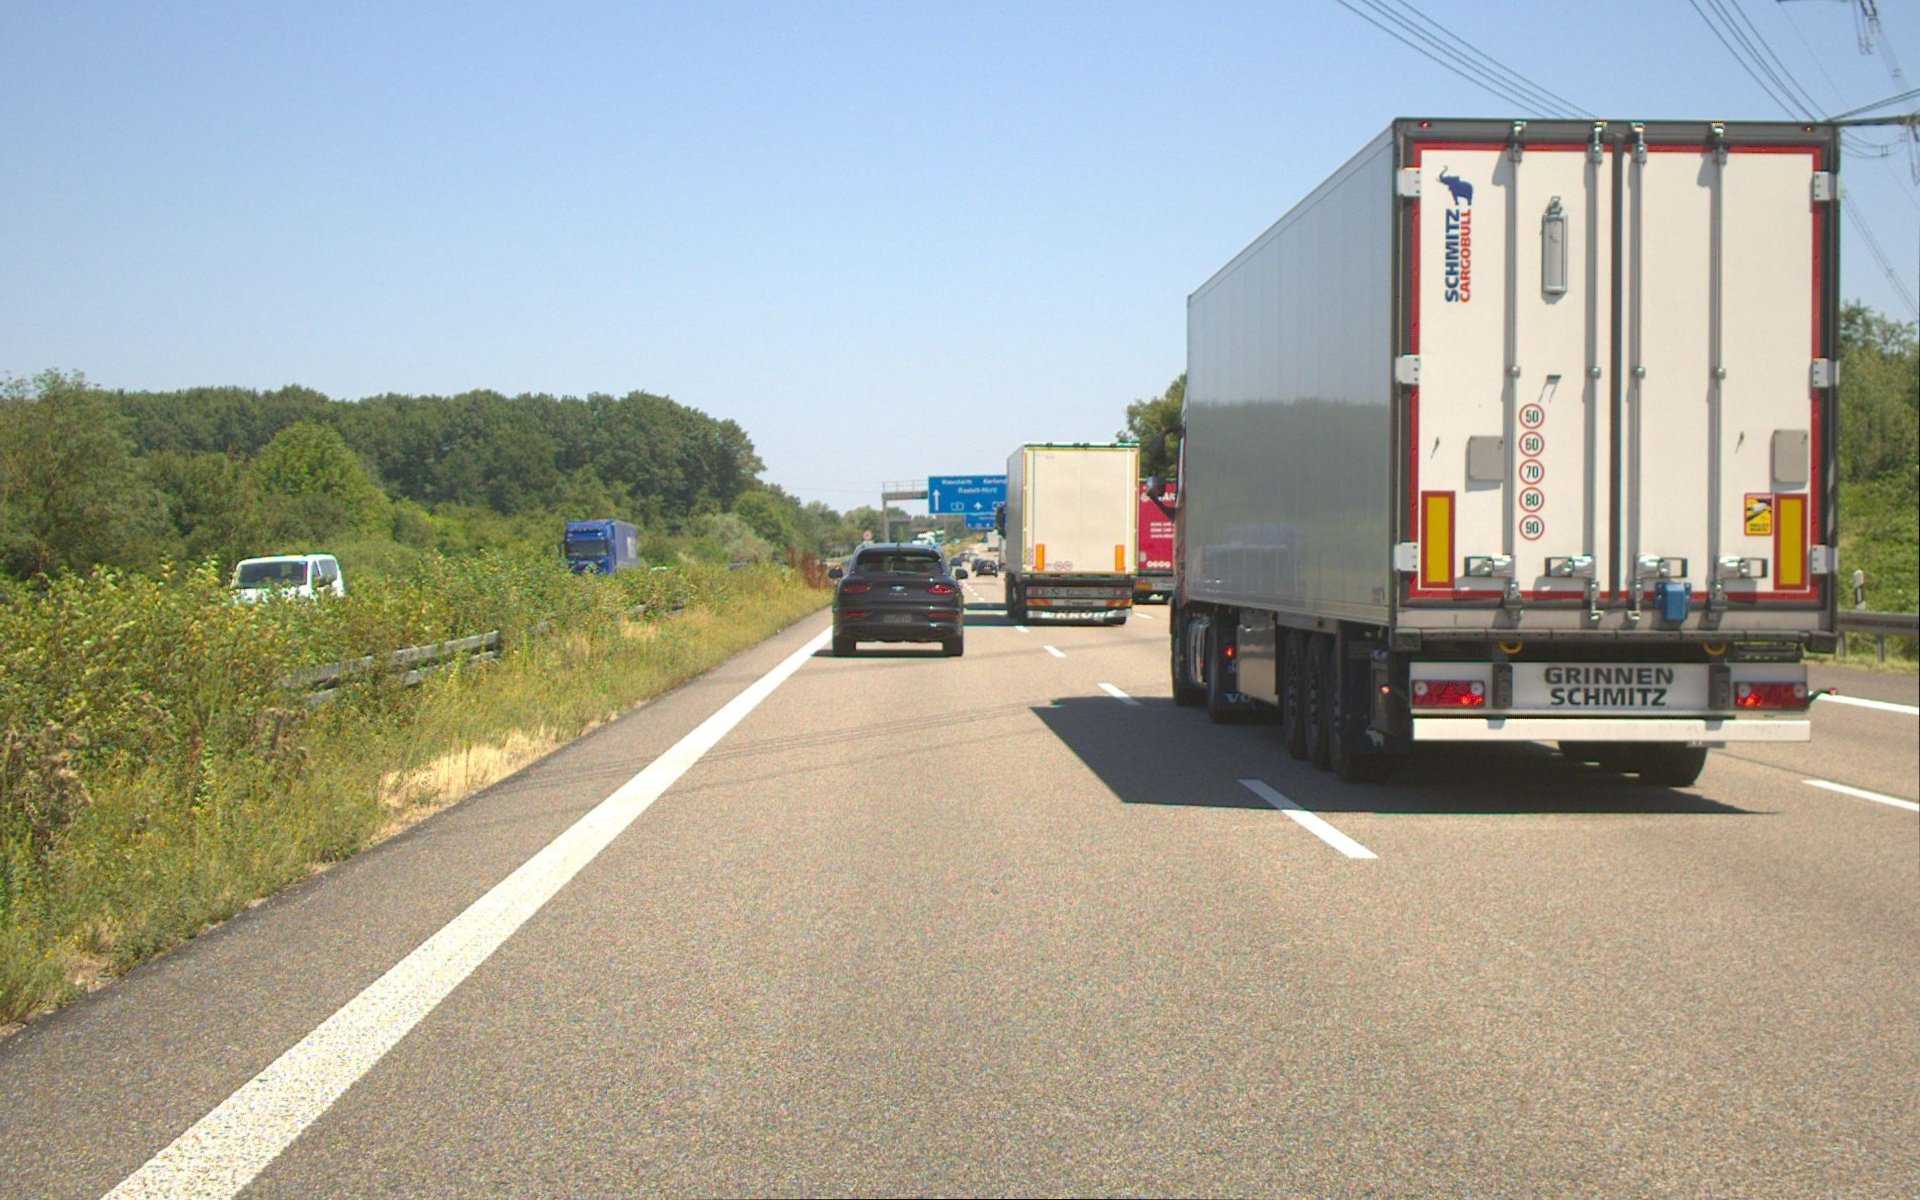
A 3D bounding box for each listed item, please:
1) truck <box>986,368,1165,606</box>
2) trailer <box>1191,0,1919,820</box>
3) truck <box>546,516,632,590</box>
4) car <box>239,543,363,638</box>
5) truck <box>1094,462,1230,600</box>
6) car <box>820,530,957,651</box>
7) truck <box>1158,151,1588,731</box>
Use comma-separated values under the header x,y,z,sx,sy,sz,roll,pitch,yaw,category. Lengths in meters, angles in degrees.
x,y,z,sx,sy,sz,roll,pitch,yaw,category
2.552,-2.556,79.966,3.512,5.149,10.259,1,1,-2,truck
3.791,-1.303,25.432,3.087,4.868,12.259,1,1,-1,trailer
-19.569,-2.538,182.040,3.512,3.756,12.044,1,1,-2,truck
-14.622,-0.226,76.504,1.993,2.007,4.000,1,1,-1,car
6.861,-2.368,118.819,3.512,4.477,13.252,1,1,-2,truck
-1.144,-0.186,53.040,1.993,1.766,4.001,-1,1,-3,car
3.703,-1.390,32.541,3.087,4.868,6.598,1,1,-1,truck
